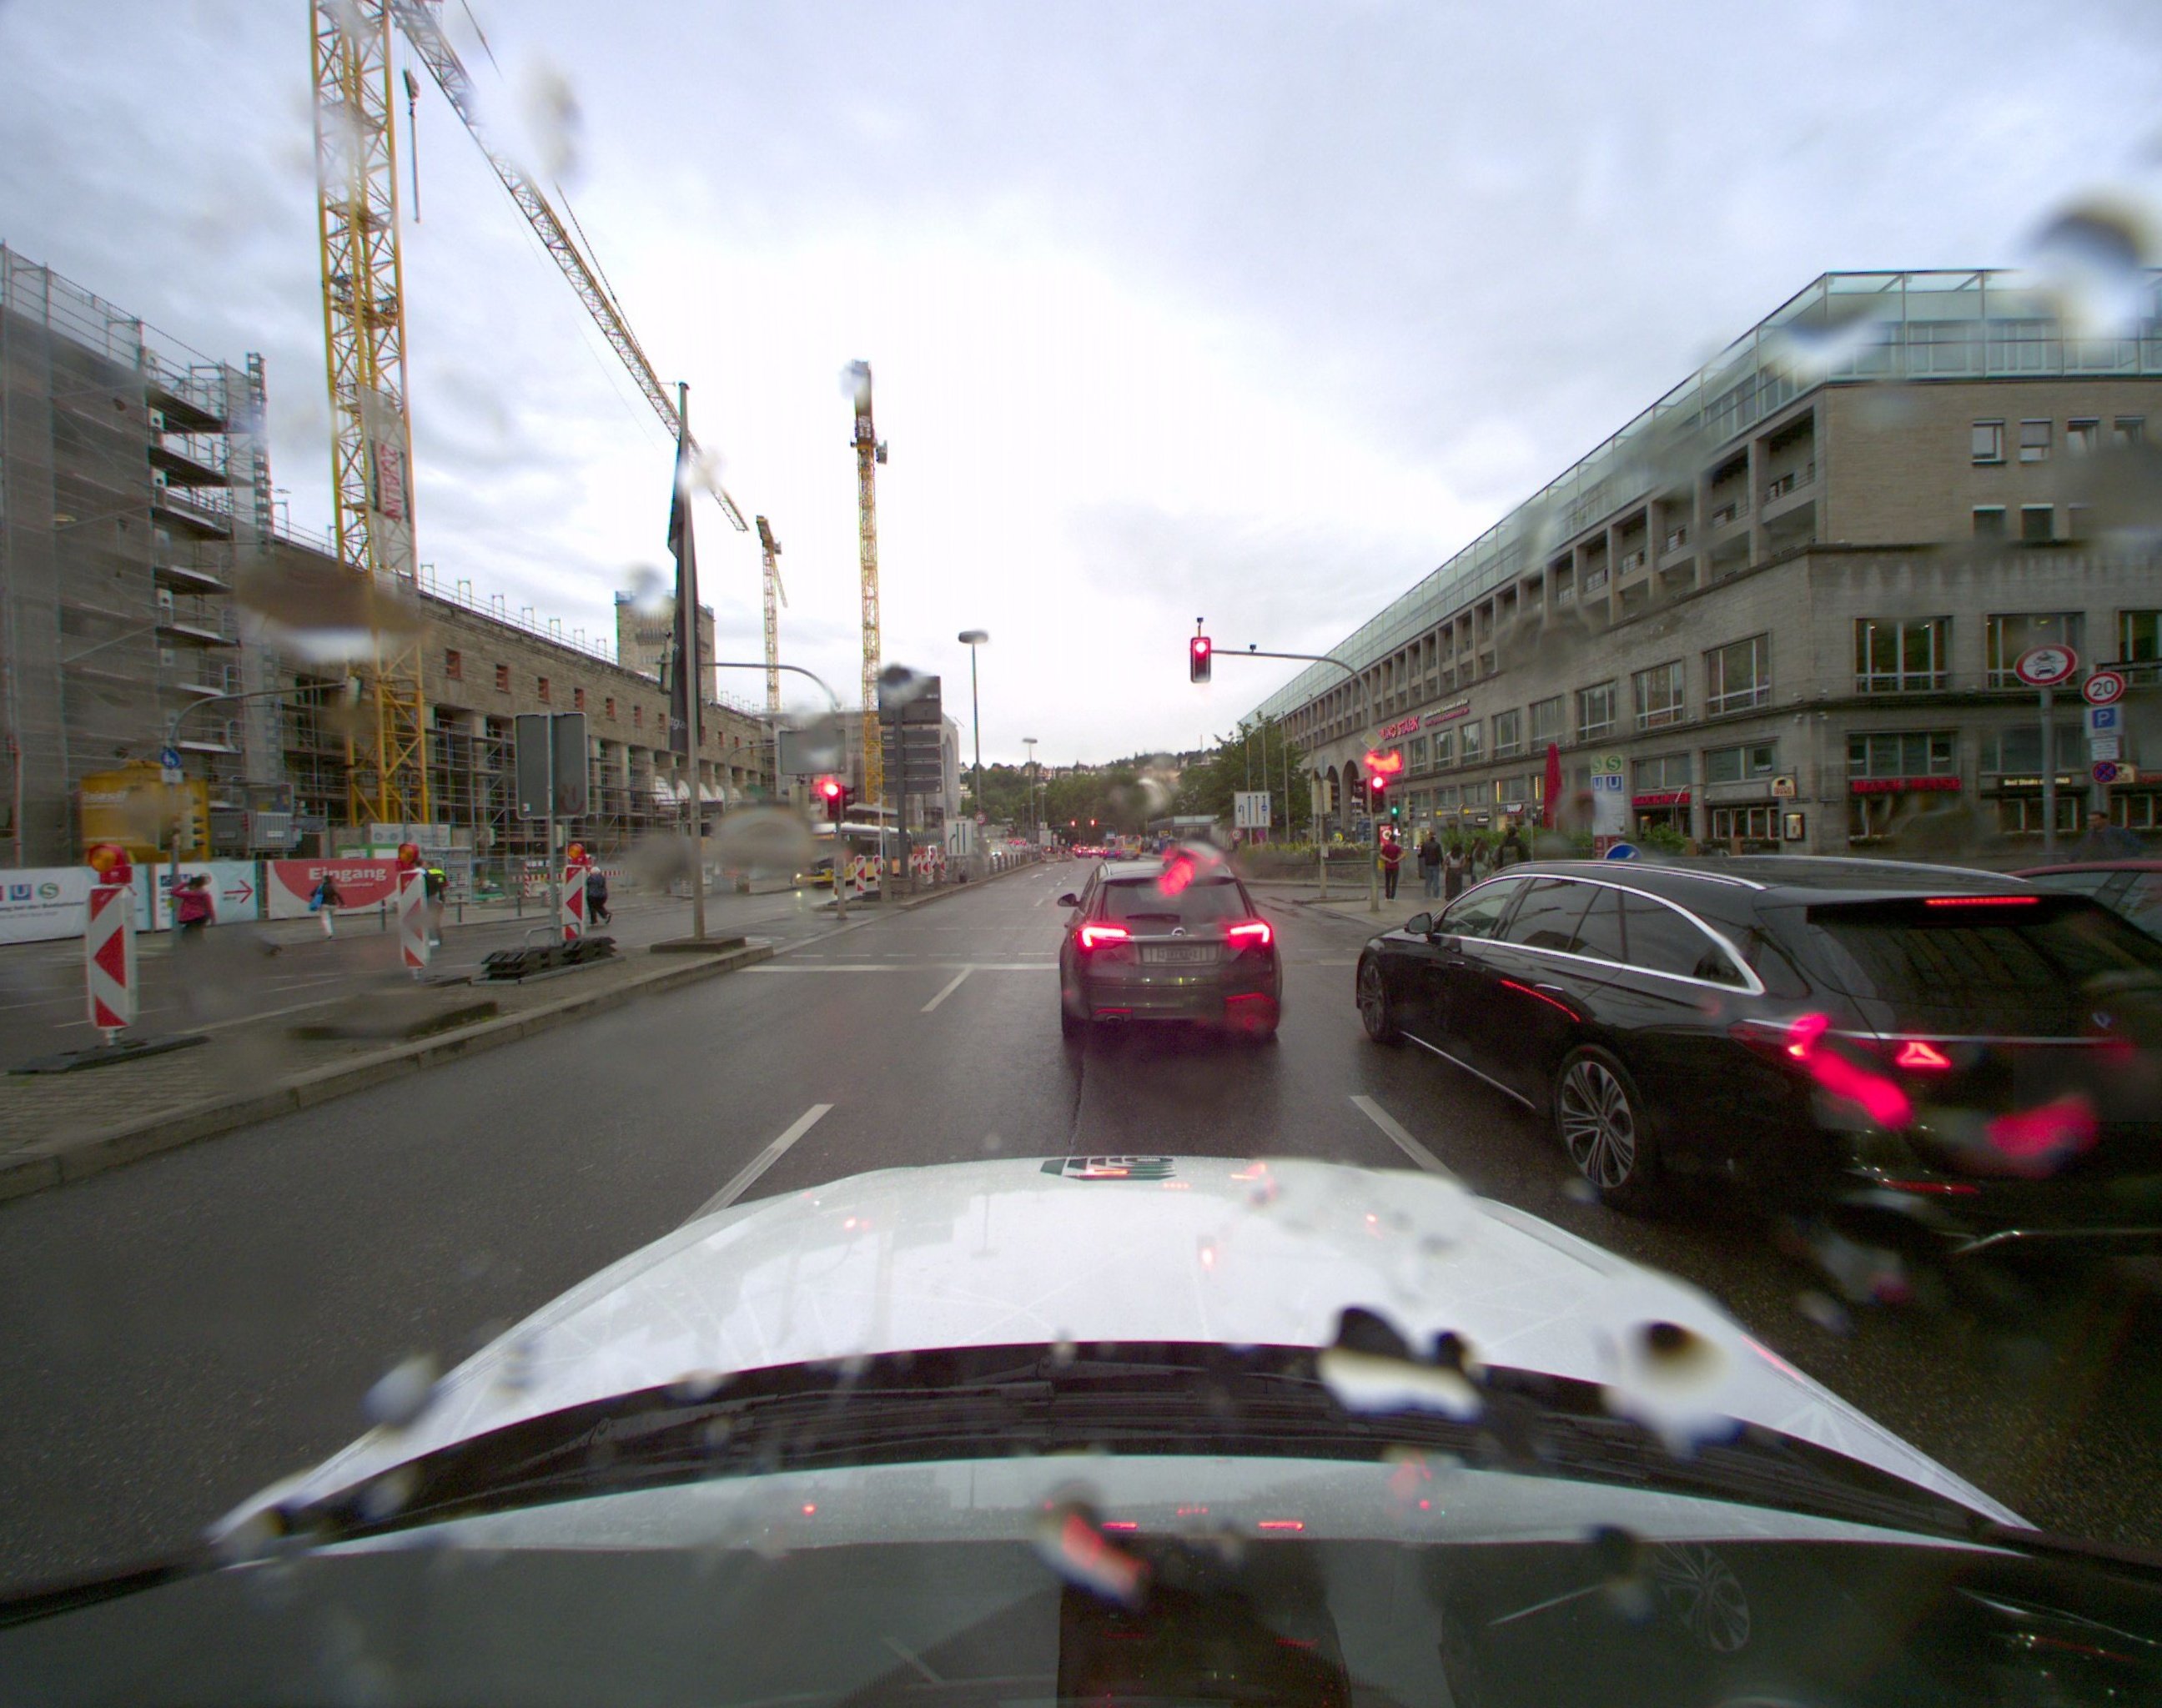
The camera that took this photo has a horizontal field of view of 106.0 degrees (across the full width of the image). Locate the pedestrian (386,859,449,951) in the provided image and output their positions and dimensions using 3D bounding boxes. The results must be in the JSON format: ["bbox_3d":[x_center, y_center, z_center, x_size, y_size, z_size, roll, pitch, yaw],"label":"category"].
[{"bbox_3d":[-13.927,1.050,17.113,0.798,1.890,0.618,0,-1,-7],"label":"pedestrian"}]

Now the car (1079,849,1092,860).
[{"bbox_3d":[0.611,0.043,109.822,1.747,1.398,4.538,0,0,0],"label":"car"}]

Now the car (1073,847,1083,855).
[{"bbox_3d":[-0.602,-0.612,150.229,1.752,1.398,3.565,0,0,2],"label":"car"}]

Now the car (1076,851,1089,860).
[{"bbox_3d":[0.292,0.299,126.542,1.839,1.398,3.565,0,0,2],"label":"car"}]

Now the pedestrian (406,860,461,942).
[{"bbox_3d":[-14.828,1.059,18.658,0.576,1.836,0.820,0,-1,2],"label":"pedestrian"}]

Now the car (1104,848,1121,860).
[{"bbox_3d":[3.765,0.050,97.074,1.748,1.398,4.647,0,0,-1],"label":"car"}]

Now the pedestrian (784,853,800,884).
[{"bbox_3d":[-15.811,0.803,44.570,0.657,1.680,0.644,0,-1,2],"label":"pedestrian"}]

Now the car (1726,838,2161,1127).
[{"bbox_3d":[6.497,0.659,4.815,1.868,1.486,4.527,0,0,1],"label":"car"}]

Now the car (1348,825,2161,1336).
[{"bbox_3d":[3.115,0.676,4.715,1.786,1.501,4.631,0,0,2],"label":"car"}]

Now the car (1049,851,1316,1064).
[{"bbox_3d":[0.760,0.738,7.739,1.868,1.486,4.001,0,0,1],"label":"car"}]

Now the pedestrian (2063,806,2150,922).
[{"bbox_3d":[16.122,0.150,12.825,0.770,1.756,0.507,-1,-1,45],"label":"pedestrian"}]

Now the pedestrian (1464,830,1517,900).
[{"bbox_3d":[9.718,0.253,19.353,0.791,1.626,0.899,0,-1,-2],"label":"pedestrian"}]

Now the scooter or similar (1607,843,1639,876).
[{"bbox_3d":[19.372,0.197,29.123,0.290,1.189,1.014,0,-1,-17],"label":"scooter or similar"}]

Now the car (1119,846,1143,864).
[{"bbox_3d":[4.043,0.066,65.888,1.838,1.398,3.668,0,0,2],"label":"car"}]

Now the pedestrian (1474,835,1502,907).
[{"bbox_3d":[10.178,0.413,20.394,0.477,1.751,0.670,-4,-1,22],"label":"pedestrian"}]

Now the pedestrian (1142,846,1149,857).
[{"bbox_3d":[11.715,-0.444,148.576,1.194,2.149,1.229,0,-1,3],"label":"pedestrian"}]

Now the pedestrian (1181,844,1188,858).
[{"bbox_3d":[12.114,-0.323,95.337,0.761,1.690,0.824,0,-1,-3],"label":"pedestrian"}]

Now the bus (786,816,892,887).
[{"bbox_3d":[-13.460,-0.105,46.429,2.658,3.602,10.243,0,0,2],"label":"bus"}]

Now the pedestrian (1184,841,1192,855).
[{"bbox_3d":[12.381,-0.693,94.207,0.761,1.690,0.824,0,-1,-3],"label":"pedestrian"}]

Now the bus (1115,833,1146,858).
[{"bbox_3d":[7.217,-1.127,120.940,4.158,3.469,14.660,0,0,2],"label":"bus"}]

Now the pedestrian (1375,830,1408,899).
[{"bbox_3d":[8.059,0.278,21.121,0.563,1.752,0.684,-1,-1,44],"label":"pedestrian"}]

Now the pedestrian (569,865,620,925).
[{"bbox_3d":[-12.847,1.063,21.503,0.864,1.561,0.791,-1,-1,24],"label":"pedestrian"}]

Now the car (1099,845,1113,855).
[{"bbox_3d":[3.547,-0.526,114.699,1.748,1.398,4.399,0,0,-2],"label":"car"}]

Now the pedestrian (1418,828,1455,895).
[{"bbox_3d":[9.244,0.199,21.193,0.753,1.717,0.466,0,-1,-2],"label":"pedestrian"}]

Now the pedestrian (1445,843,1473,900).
[{"bbox_3d":[9.596,0.430,20.708,0.625,1.428,0.492,-1,-1,24],"label":"pedestrian"}]

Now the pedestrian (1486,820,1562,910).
[{"bbox_3d":[9.047,0.219,16.666,1.093,1.751,0.653,-3,-1,-1],"label":"pedestrian"}]

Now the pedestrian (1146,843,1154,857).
[{"bbox_3d":[11.453,-0.653,134.839,1.194,2.435,1.229,0,-1,3],"label":"pedestrian"}]

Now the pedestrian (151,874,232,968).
[{"bbox_3d":[-17.152,1.273,15.715,0.797,1.717,0.619,-3,0,-2],"label":"pedestrian"}]

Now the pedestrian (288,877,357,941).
[{"bbox_3d":[-19.377,1.392,20.821,0.912,1.563,0.899,0,-1,-2],"label":"pedestrian"}]

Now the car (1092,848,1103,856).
[{"bbox_3d":[2.870,-0.393,141.070,1.839,1.398,3.565,0,0,2],"label":"car"}]

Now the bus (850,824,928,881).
[{"bbox_3d":[-13.141,-0.056,56.717,2.658,3.602,10.215,0,0,2],"label":"bus"}]
